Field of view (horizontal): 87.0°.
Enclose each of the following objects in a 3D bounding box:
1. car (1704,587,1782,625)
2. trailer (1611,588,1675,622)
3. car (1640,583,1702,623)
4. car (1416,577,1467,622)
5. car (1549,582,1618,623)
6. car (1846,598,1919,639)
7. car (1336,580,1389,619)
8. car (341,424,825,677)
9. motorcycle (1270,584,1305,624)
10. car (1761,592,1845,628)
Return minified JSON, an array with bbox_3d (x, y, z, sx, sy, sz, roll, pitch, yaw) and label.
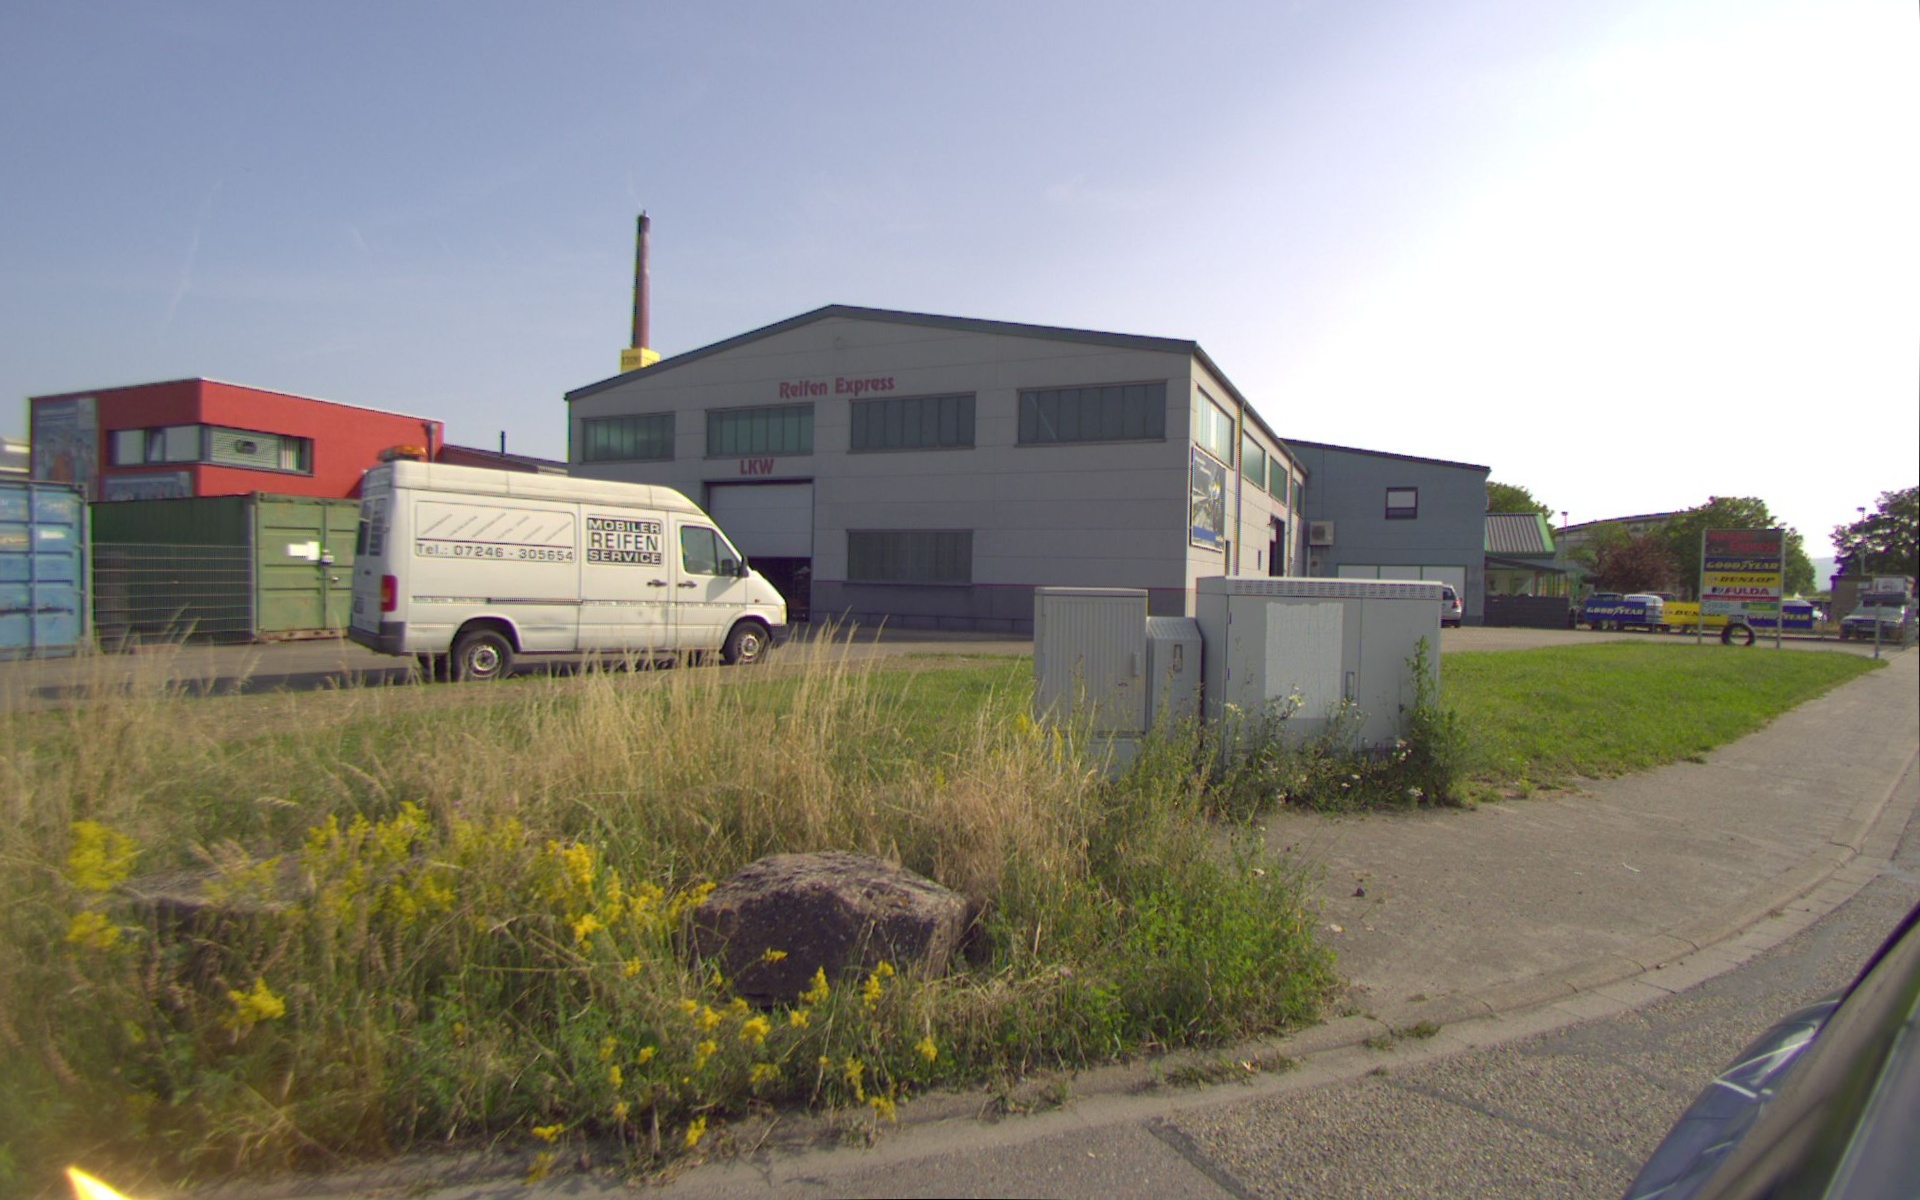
[{"bbox_3d":[35.297,0.251,45.723,1.701,1.592,4.102,2,1,22],"label":"car"},{"bbox_3d":[26.439,0.184,39.252,1.478,1.264,2.953,0,0,23],"label":"trailer"},{"bbox_3d":[32.778,0.122,46.755,1.625,1.741,3.189,1,1,22],"label":"car"},{"bbox_3d":[18.135,-0.053,38.160,1.622,1.587,3.773,2,1,25],"label":"car"},{"bbox_3d":[24.875,0.063,40.501,1.626,1.484,4.427,2,1,22],"label":"car"},{"bbox_3d":[33.699,0.640,36.668,4.313,1.386,1.678,0,1,-39],"label":"car"},{"bbox_3d":[15.528,-0.048,38.972,1.665,1.420,3.679,2,1,25],"label":"car"},{"bbox_3d":[-4.789,-0.560,13.610,5.779,2.739,1.977,0,1,-42],"label":"car"},{"bbox_3d":[9.640,0.096,29.755,0.794,1.108,2.186,1,1,23],"label":"motorcycle"},{"bbox_3d":[37.896,0.396,45.595,1.674,1.484,4.230,2,1,22],"label":"car"}]
